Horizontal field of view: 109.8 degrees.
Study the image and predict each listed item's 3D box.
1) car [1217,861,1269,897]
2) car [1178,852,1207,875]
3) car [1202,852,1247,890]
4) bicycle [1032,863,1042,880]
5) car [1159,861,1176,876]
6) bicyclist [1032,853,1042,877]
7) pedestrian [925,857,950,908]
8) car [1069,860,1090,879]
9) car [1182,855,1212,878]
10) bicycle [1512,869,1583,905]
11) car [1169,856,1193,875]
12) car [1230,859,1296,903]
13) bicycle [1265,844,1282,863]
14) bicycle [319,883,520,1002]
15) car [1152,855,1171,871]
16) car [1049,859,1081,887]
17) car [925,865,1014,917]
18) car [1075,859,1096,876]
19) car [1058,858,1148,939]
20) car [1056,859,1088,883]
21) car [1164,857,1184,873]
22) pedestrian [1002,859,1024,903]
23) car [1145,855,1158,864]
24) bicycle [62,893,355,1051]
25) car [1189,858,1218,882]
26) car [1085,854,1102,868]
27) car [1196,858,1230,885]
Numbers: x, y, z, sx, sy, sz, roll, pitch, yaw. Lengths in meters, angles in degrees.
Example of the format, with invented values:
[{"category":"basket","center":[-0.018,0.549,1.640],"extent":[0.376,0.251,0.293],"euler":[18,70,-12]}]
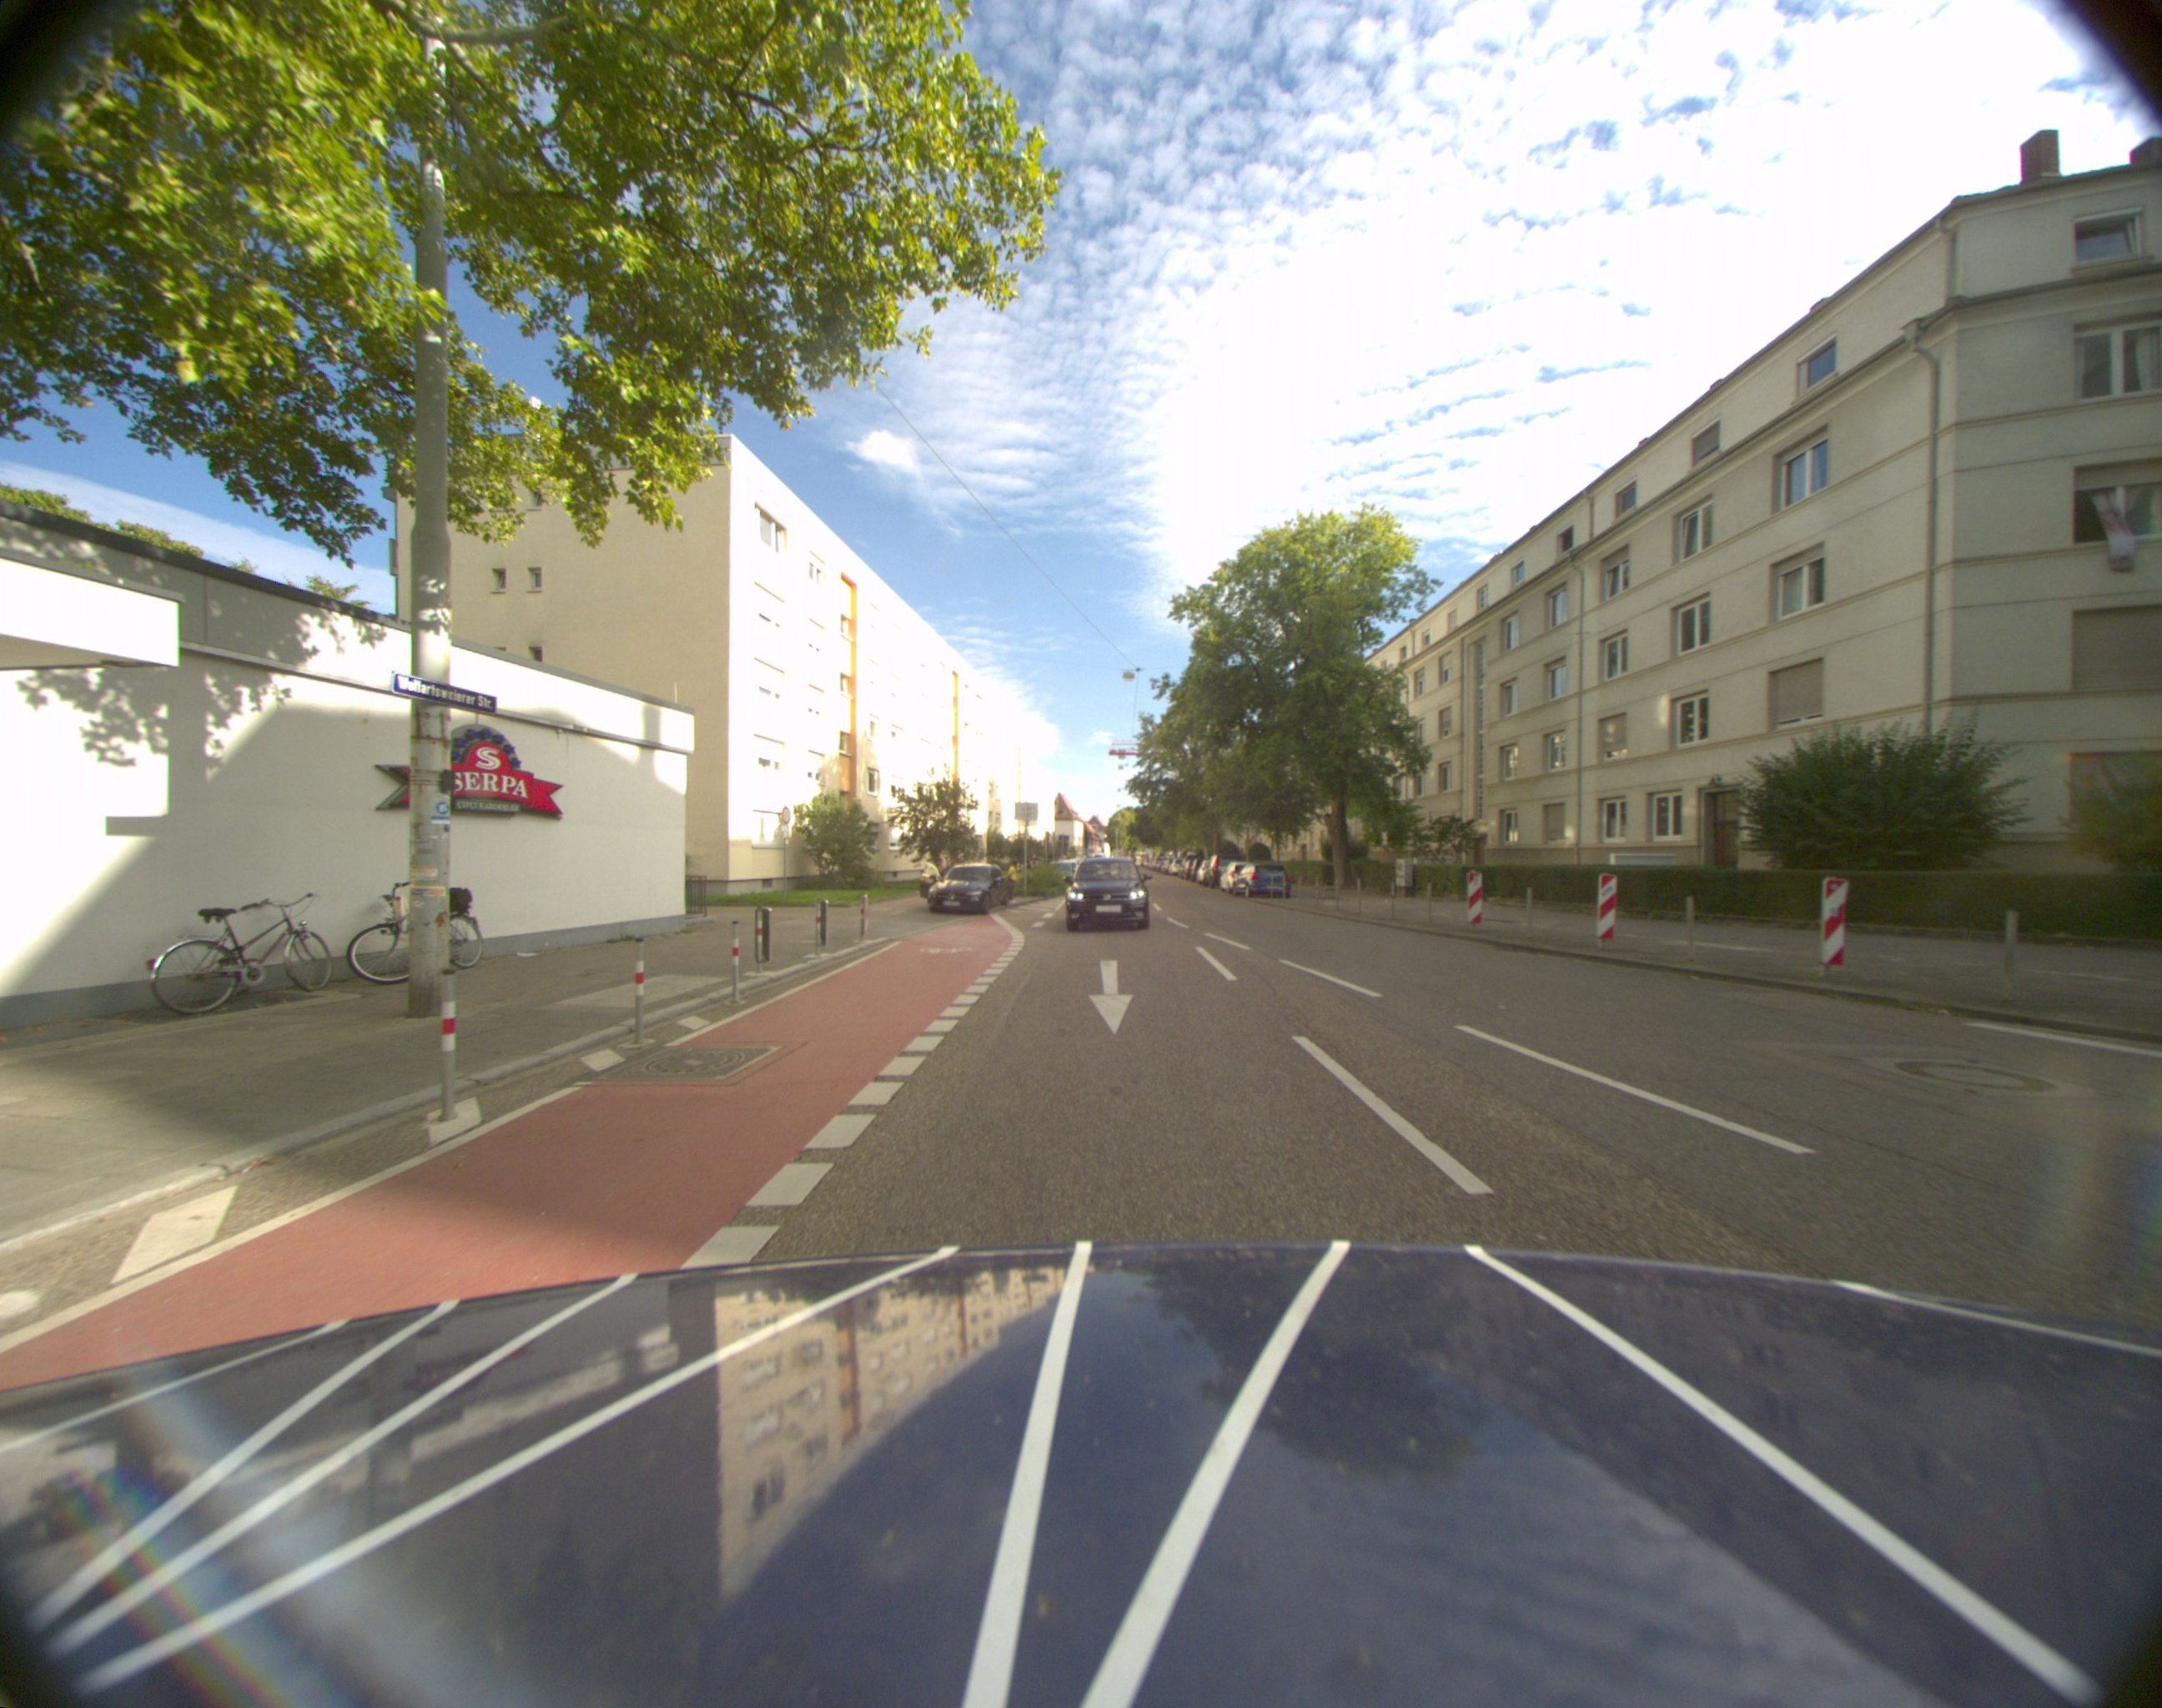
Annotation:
[{"category":"car","center":[7.537,1.124,35.694],"extent":[1.803,1.485,3.804],"euler":[2,0,4]},{"category":"car","center":[8.819,0.716,60.354],"extent":[1.803,1.658,4.484],"euler":[2,0,4]},{"category":"car","center":[7.699,0.874,41.159],"extent":[1.727,1.871,4.192],"euler":[2,0,2]},{"category":"bicycle","center":[-3.084,1.224,53.220],"extent":[0.525,1.128,1.929],"euler":[0,0,2]},{"category":"car","center":[9.549,1.618,84.401],"extent":[1.689,1.472,4.453],"euler":[3,0,5]},{"category":"bicyclist","center":[-3.077,0.738,53.328],"extent":[0.625,1.668,0.893],"euler":[0,0,2]},{"category":"pedestrian","center":[-4.683,0.914,24.817],"extent":[0.654,1.635,0.743],"euler":[-1,0,2]},{"category":"car","center":[-0.104,1.305,64.971],"extent":[1.733,1.571,4.118],"euler":[0,0,1]},{"category":"car","center":[8.304,0.879,54.716],"extent":[1.704,1.478,3.849],"euler":[2,0,4]},{"category":"bicycle","center":[14.630,1.031,23.870],"extent":[1.872,1.125,0.598],"euler":[0,0,-1]},{"category":"car","center":[8.993,1.014,68.827],"extent":[1.743,1.610,3.995],"euler":[0,0,1]},{"category":"car","center":[7.331,1.041,30.976],"extent":[1.803,1.610,3.803],"euler":[2,0,1]},{"category":"bicycle","center":[21.530,-0.033,85.016],"extent":[1.267,2.002,2.918],"euler":[-1,0,2]},{"category":"bicycle","center":[-8.096,1.023,9.427],"extent":[0.770,1.199,1.816],"euler":[3,1,5]},{"category":"car","center":[10.086,1.093,95.114],"extent":[1.881,1.782,4.971],"euler":[2,0,2]},{"category":"car","center":[-0.905,1.091,45.041],"extent":[1.694,1.519,4.238],"euler":[0,0,1]},{"category":"car","center":[-3.444,1.115,24.208],"extent":[1.764,1.403,4.235],"euler":[1,0,6]},{"category":"car","center":[0.440,1.222,71.105],"extent":[1.732,1.479,4.643],"euler":[0,0,4]},{"category":"car","center":[0.618,0.959,18.017],"extent":[1.859,1.673,4.001],"euler":[-1,0,4]},{"category":"car","center":[-0.566,1.132,51.905],"extent":[1.693,1.519,4.239],"euler":[-1,0,5]},{"category":"car","center":[8.967,1.040,73.430],"extent":[1.618,1.459,4.014],"euler":[1,0,2]},{"category":"pedestrian","center":[-2.402,0.946,26.844],"extent":[0.654,1.529,0.743],"euler":[1,0,2]},{"category":"car","center":[11.665,0.899,125.577],"extent":[1.859,1.477,4.799],"euler":[3,0,3]},{"category":"bicycle","center":[-8.346,1.058,7.409],"extent":[0.712,1.199,1.771],"euler":[3,1,5]},{"category":"car","center":[8.155,1.064,50.695],"extent":[1.556,1.511,3.017],"euler":[2,0,4]},{"category":"car","center":[1.340,0.722,81.714],"extent":[1.732,1.452,4.117],"euler":[1,0,2]},{"category":"car","center":[8.011,1.035,46.308],"extent":[1.698,1.484,4.334],"euler":[1,0,6]}]
